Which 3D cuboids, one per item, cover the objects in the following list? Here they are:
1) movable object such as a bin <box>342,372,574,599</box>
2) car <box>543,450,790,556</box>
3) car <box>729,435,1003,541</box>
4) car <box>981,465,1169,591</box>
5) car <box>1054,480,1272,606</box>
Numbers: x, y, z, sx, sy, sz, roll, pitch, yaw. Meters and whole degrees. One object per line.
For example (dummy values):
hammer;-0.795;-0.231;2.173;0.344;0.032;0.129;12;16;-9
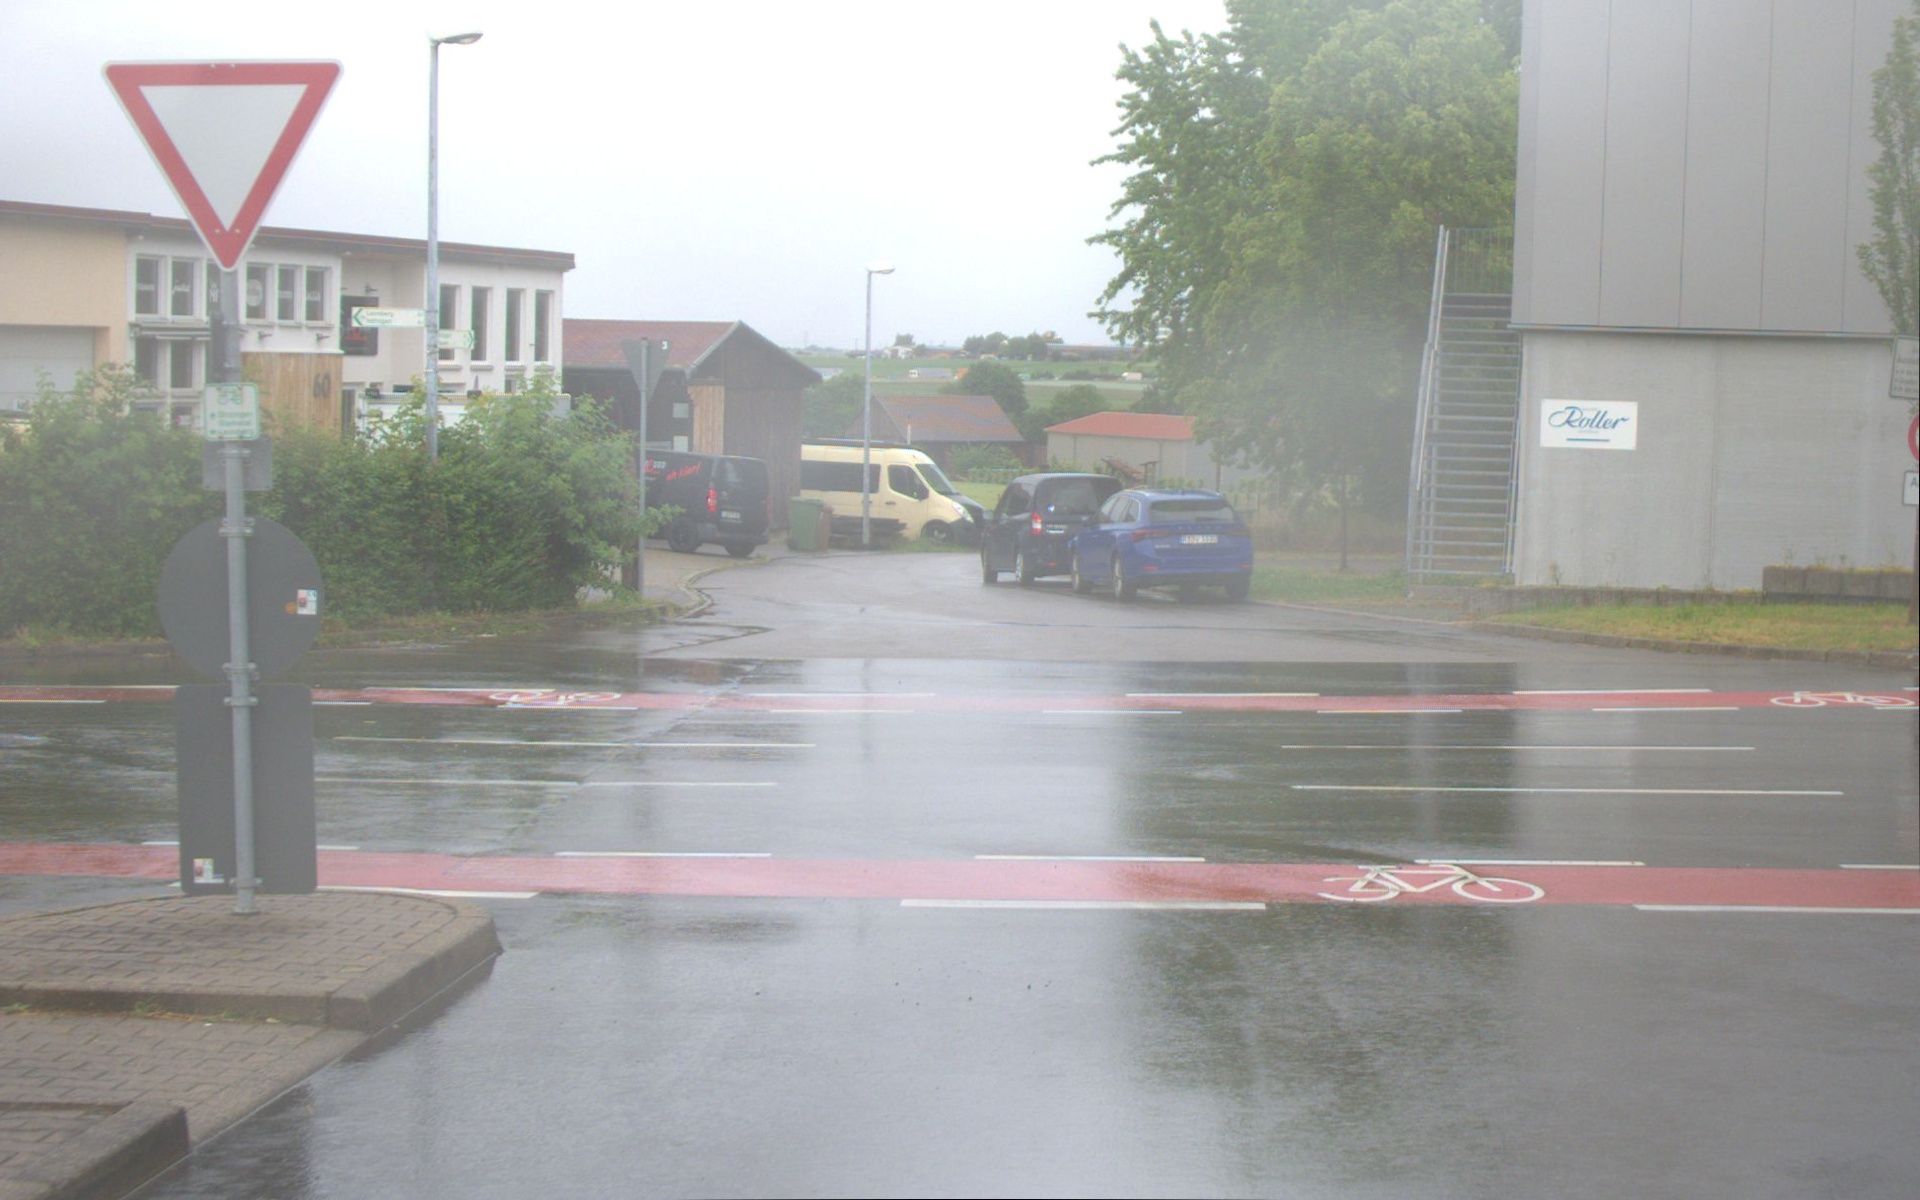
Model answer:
movable object such as a bin;-5.869;-1.347;40.530;1.733;2.547;3.338;1;2;10
car;-5.488;-1.815;64.009;4.405;1.898;1.996;2;2;38
car;-2.212;-2.661;81.549;6.014;2.406;2.461;1;2;16
car;1.707;-1.116;52.699;2.073;1.828;4.472;0;2;-9
car;2.684;-0.793;46.477;1.951;1.604;4.448;0;2;-10
